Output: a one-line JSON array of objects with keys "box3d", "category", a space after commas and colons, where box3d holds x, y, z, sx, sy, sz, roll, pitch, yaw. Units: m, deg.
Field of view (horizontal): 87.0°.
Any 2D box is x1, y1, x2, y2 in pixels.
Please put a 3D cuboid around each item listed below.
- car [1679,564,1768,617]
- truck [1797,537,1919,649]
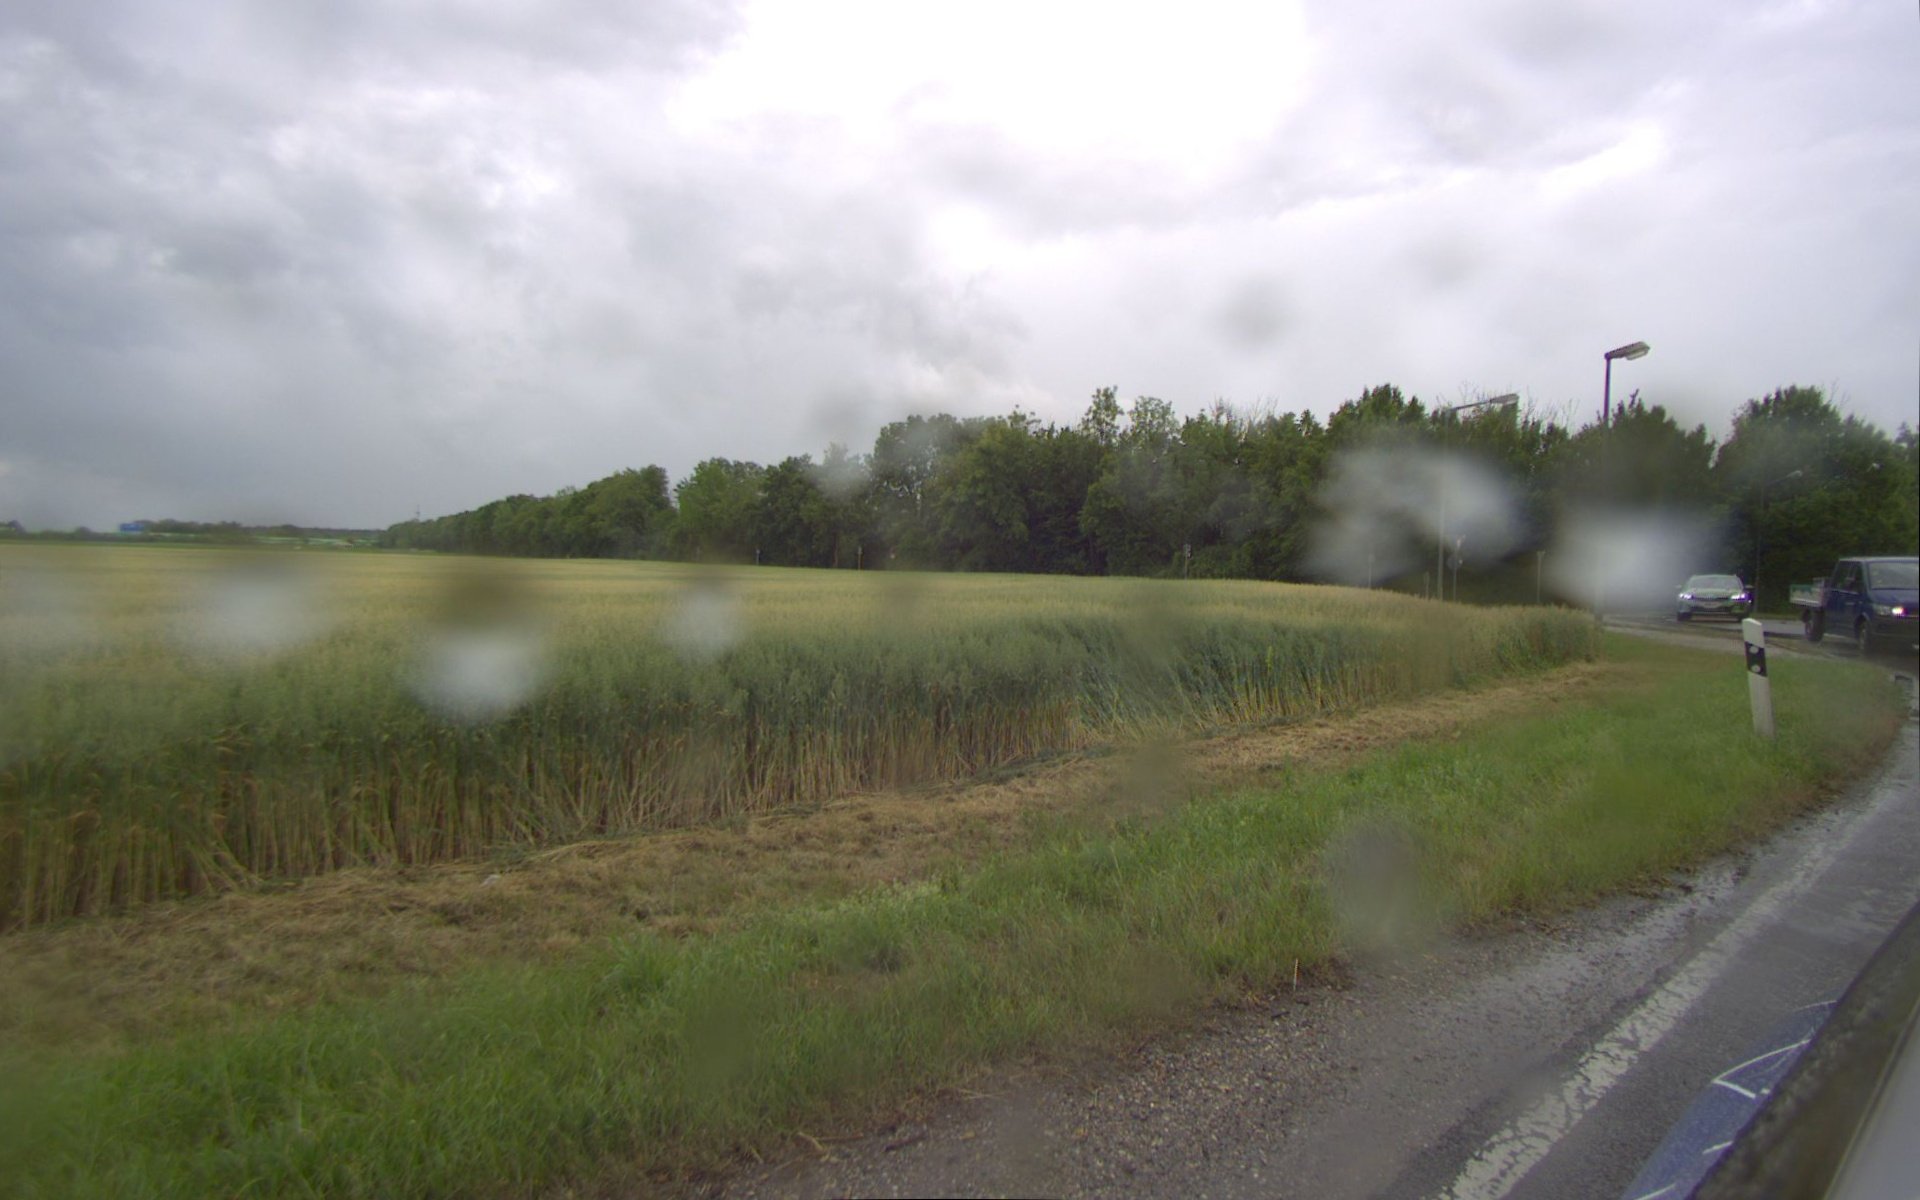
[{"box3d": [24.575, -0.318, 32.488, 1.886, 1.550, 5.177, 1, 1, 41], "category": "car"}, {"box3d": [19.698, -0.227, 21.175, 2.056, 2.087, 5.719, 0, 2, 26], "category": "truck"}]
